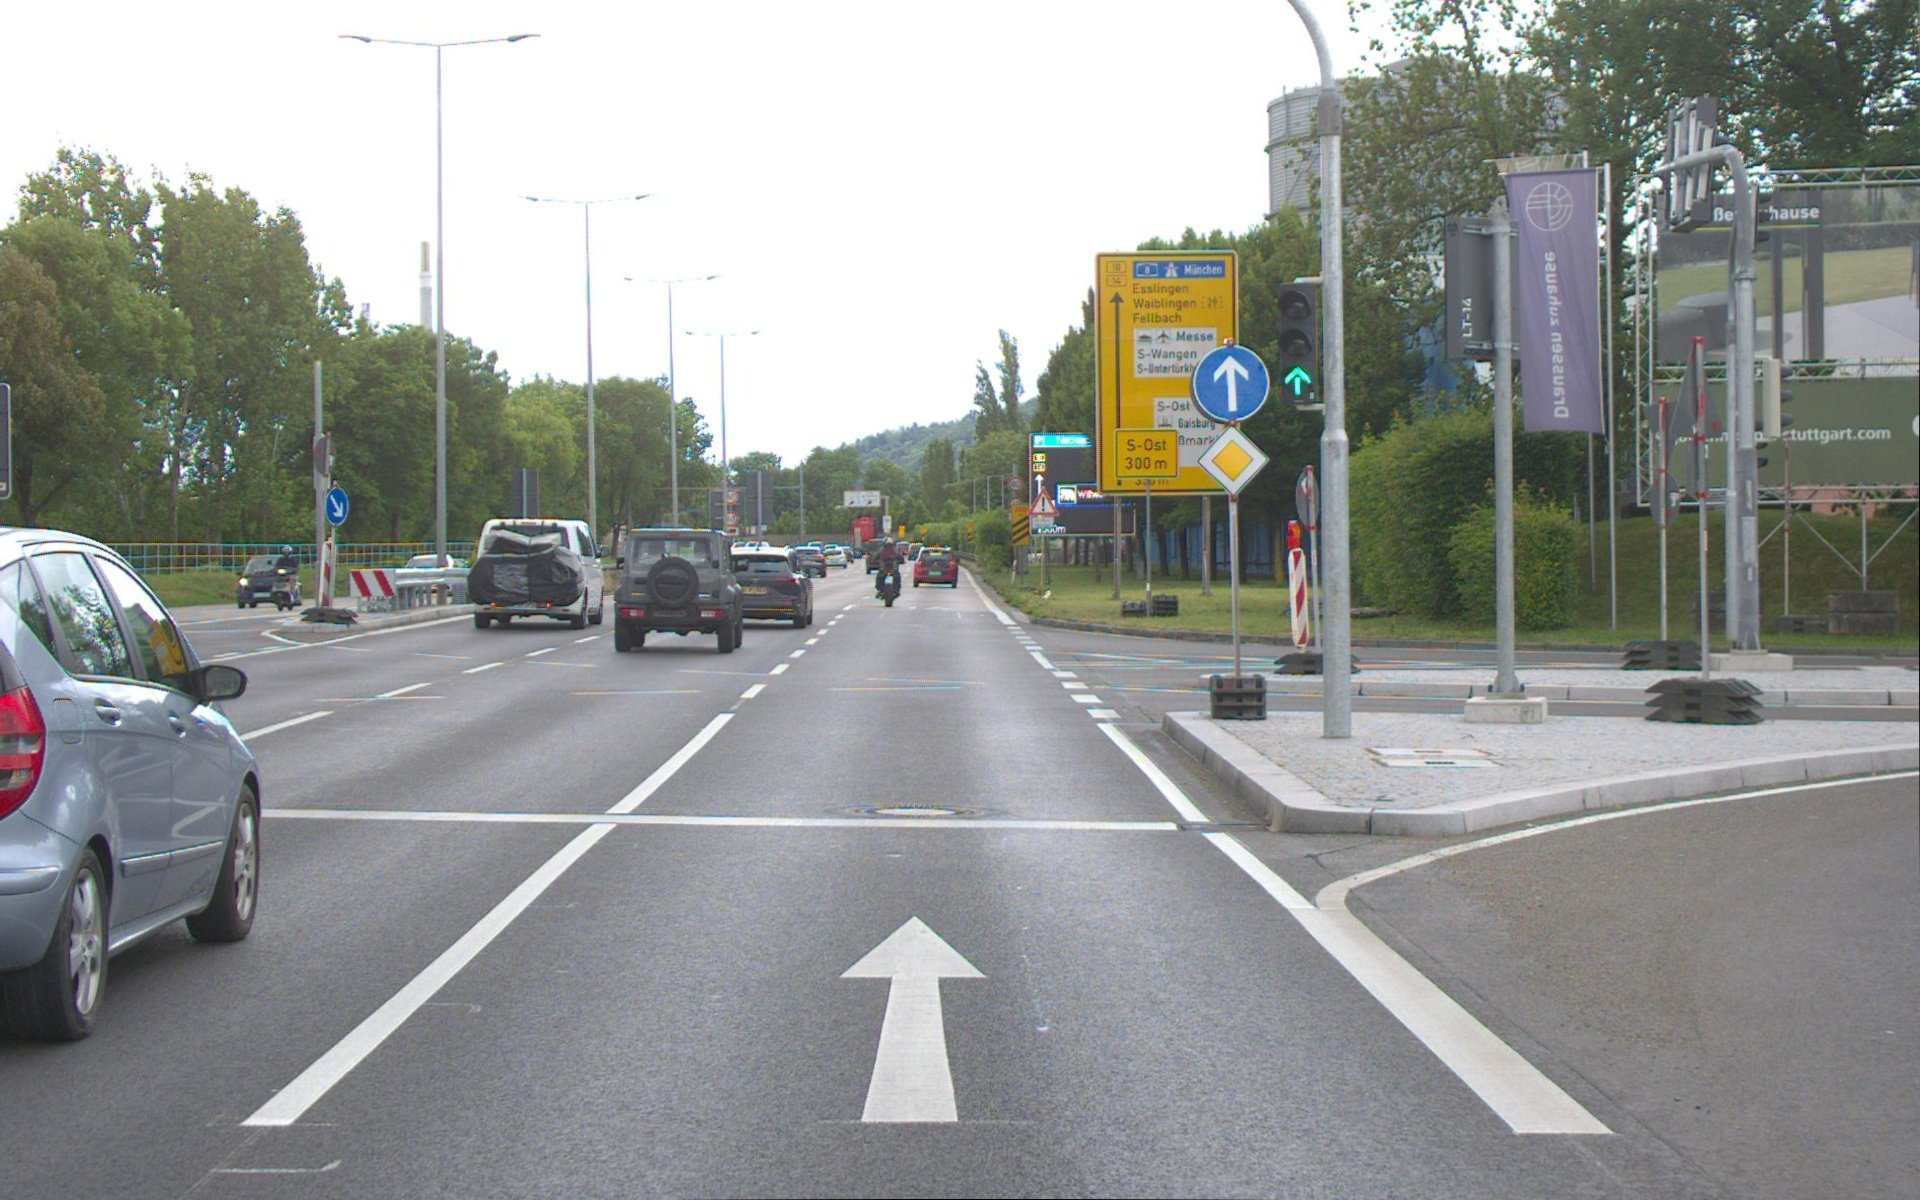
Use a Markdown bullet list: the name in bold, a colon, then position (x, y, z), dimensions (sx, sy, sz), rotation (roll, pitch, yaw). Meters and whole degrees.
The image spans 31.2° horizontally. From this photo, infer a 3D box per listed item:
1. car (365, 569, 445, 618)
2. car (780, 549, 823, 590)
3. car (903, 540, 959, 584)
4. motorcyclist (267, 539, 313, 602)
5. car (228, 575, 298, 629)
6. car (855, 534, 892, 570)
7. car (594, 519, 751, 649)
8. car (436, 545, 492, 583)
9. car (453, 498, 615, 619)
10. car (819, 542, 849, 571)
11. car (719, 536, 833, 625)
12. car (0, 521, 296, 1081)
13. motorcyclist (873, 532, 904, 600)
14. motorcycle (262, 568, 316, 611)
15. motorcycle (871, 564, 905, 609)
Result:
- **car**: position (-19.138, -0.242, 118.749), dimensions (1.993, 1.488, 4.805), rotation (2, 1, -1)
- **car**: position (-8.255, -1.594, 179.248), dimensions (1.993, 2.007, 4.000), rotation (2, 1, 0)
- **car**: position (-1.132, -1.472, 130.742), dimensions (1.993, 1.546, 4.001), rotation (2, 1, -2)
- **motorcyclist**: position (-16.778, -0.739, 86.099), dimensions (0.913, 1.516, 0.980), rotation (2, -2, 0)
- **car**: position (-20.328, 0.042, 100.312), dimensions (1.473, 1.458, 2.737), rotation (2, 1, -1)
- **car**: position (-4.971, -2.774, 197.657), dimensions (1.993, 2.007, 4.000), rotation (2, 1, 0)
- **car**: position (-3.975, -0.260, 48.066), dimensions (1.907, 1.678, 4.001), rotation (2, 1, -1)
- **car**: position (-22.858, -1.659, 158.678), dimensions (1.993, 1.634, 4.000), rotation (2, 1, 0)
- **car**: position (-7.240, -0.742, 58.900), dimensions (2.214, 1.919, 5.003), rotation (2, 1, -1)
- **car**: position (-9.186, -3.203, 250.791), dimensions (1.993, 2.007, 4.000), rotation (2, 1, 0)
- **car**: position (-3.281, -0.377, 61.868), dimensions (1.840, 1.459, 4.000), rotation (2, 1, -1)
- **car**: position (-3.467, 0.509, 11.607), dimensions (1.710, 1.525, 4.000), rotation (2, 1, -1)
- **motorcyclist**: position (-1.718, -0.834, 82.747), dimensions (0.685, 1.604, 0.845), rotation (2, 1, 1)
- **motorcycle**: position (-16.796, -0.258, 86.041), dimensions (0.913, 0.986, 2.163), rotation (2, -2, 0)
- **motorcycle**: position (-1.732, -0.328, 82.609), dimensions (0.706, 1.036, 2.027), rotation (2, 1, 1)
